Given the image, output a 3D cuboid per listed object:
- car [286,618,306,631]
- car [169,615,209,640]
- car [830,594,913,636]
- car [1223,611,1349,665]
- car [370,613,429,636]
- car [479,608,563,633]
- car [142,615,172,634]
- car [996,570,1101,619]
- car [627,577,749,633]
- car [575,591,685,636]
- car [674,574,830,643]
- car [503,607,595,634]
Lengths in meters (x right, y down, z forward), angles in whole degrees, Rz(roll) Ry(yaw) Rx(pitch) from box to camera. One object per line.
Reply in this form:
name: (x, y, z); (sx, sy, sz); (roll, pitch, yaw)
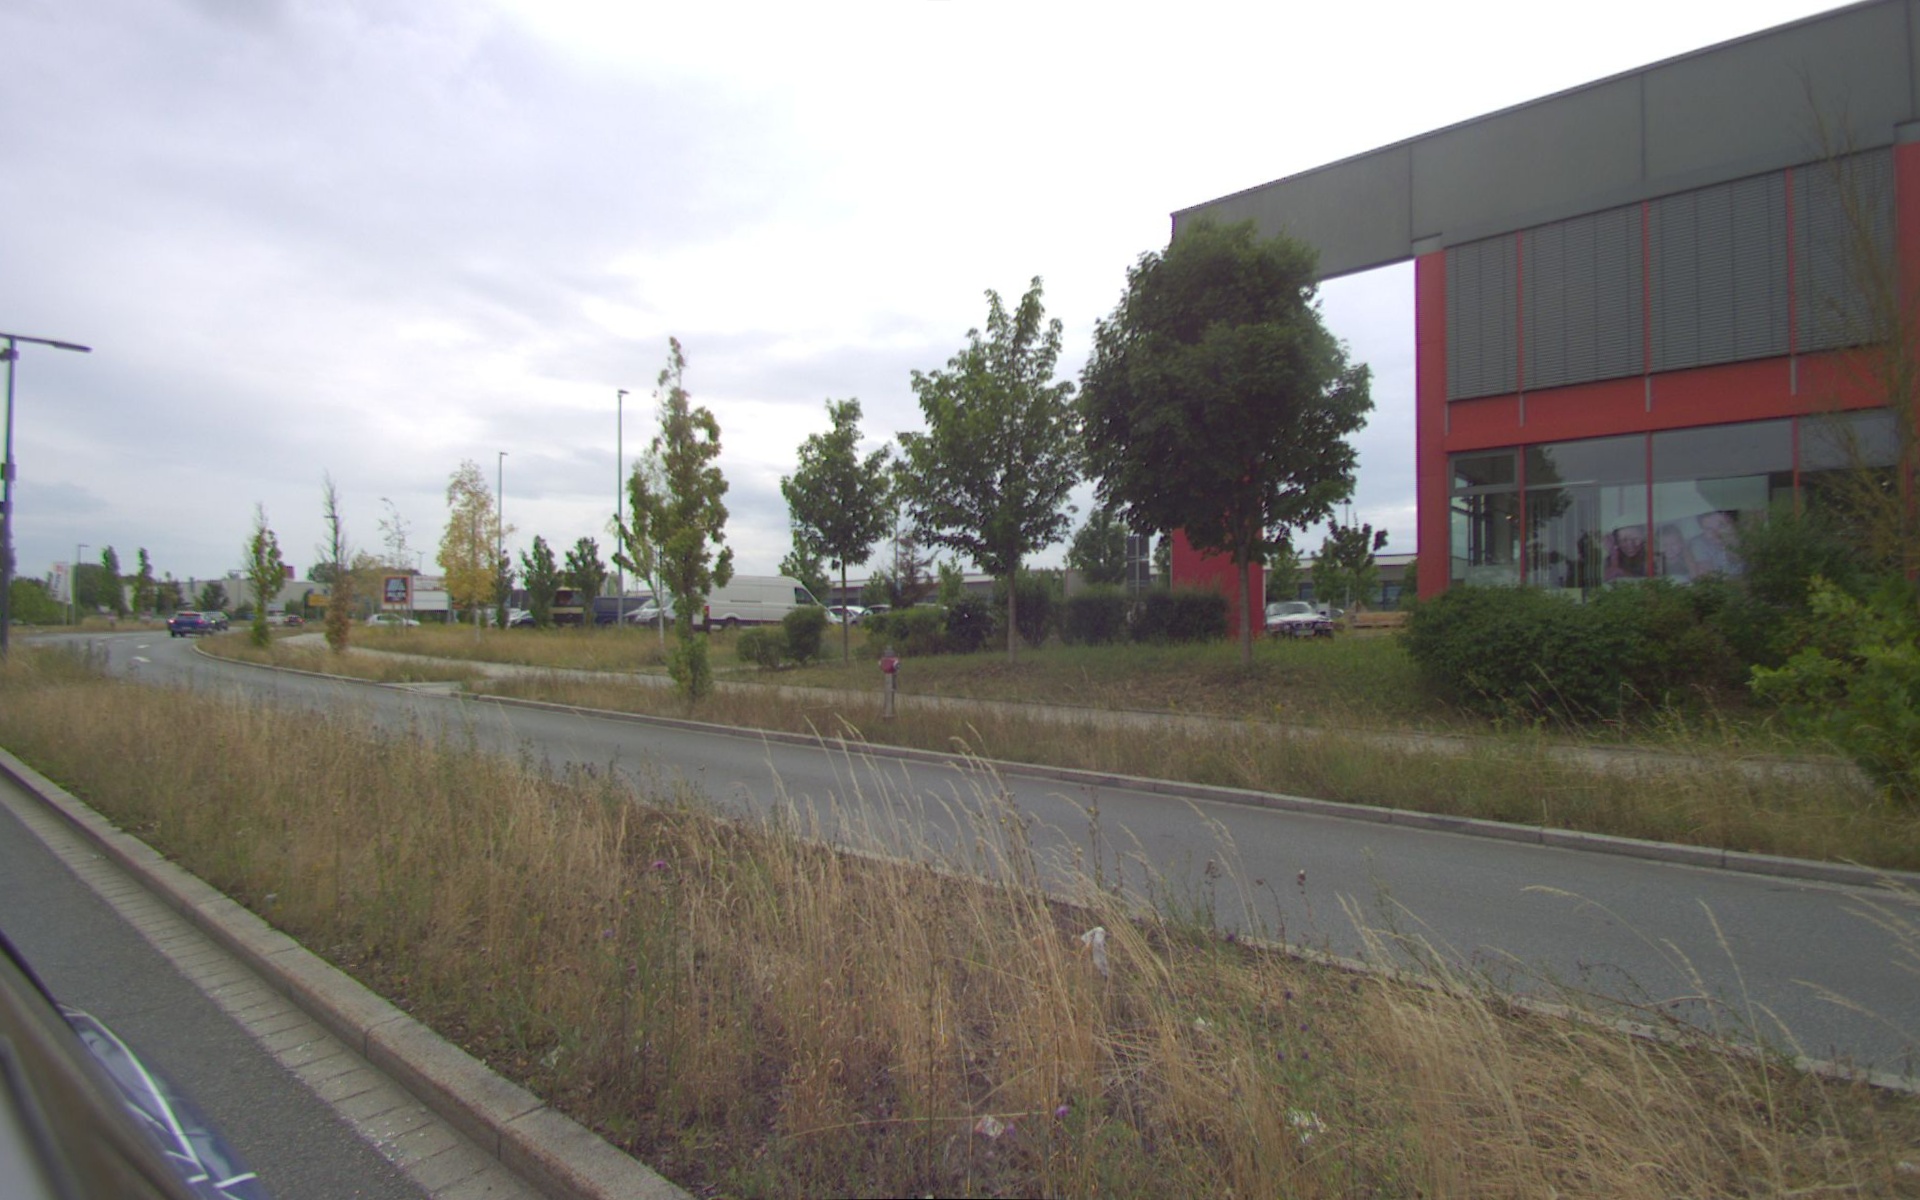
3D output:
car: (-77.329, 2.845, 117.918); (1.706, 1.504, 4.009); (1, -2, -37)
car: (-48.868, 1.749, 64.197); (1.705, 1.524, 4.011); (1, -2, -33)
car: (-5.343, 0.863, 60.486); (5.055, 2.391, 2.036); (0, 0, 41)
car: (8.388, 0.949, 26.122); (2.860, 1.279, 1.245); (0, 0, 42)
car: (-43.344, 1.892, 78.358); (3.931, 1.683, 2.006); (-1, -1, -26)
car: (-30.491, 1.478, 70.409); (4.977, 1.669, 2.068); (2, -2, -39)
car: (-70.325, 2.118, 88.632); (1.968, 1.586, 4.008); (0, 0, -38)
car: (4.462, -0.274, 51.618); (5.049, 2.391, 2.039); (0, 0, 37)
car: (-12.162, 0.193, 45.515); (2.064, 2.391, 4.988); (0, 0, 41)
car: (-16.880, 0.735, 51.907); (4.979, 2.240, 2.067); (2, -2, -42)
car: (-8.538, 0.316, 42.157); (2.066, 2.644, 6.326); (0, 0, 44)
car: (-26.032, 1.330, 64.167); (4.977, 1.669, 2.068); (2, -2, -39)
